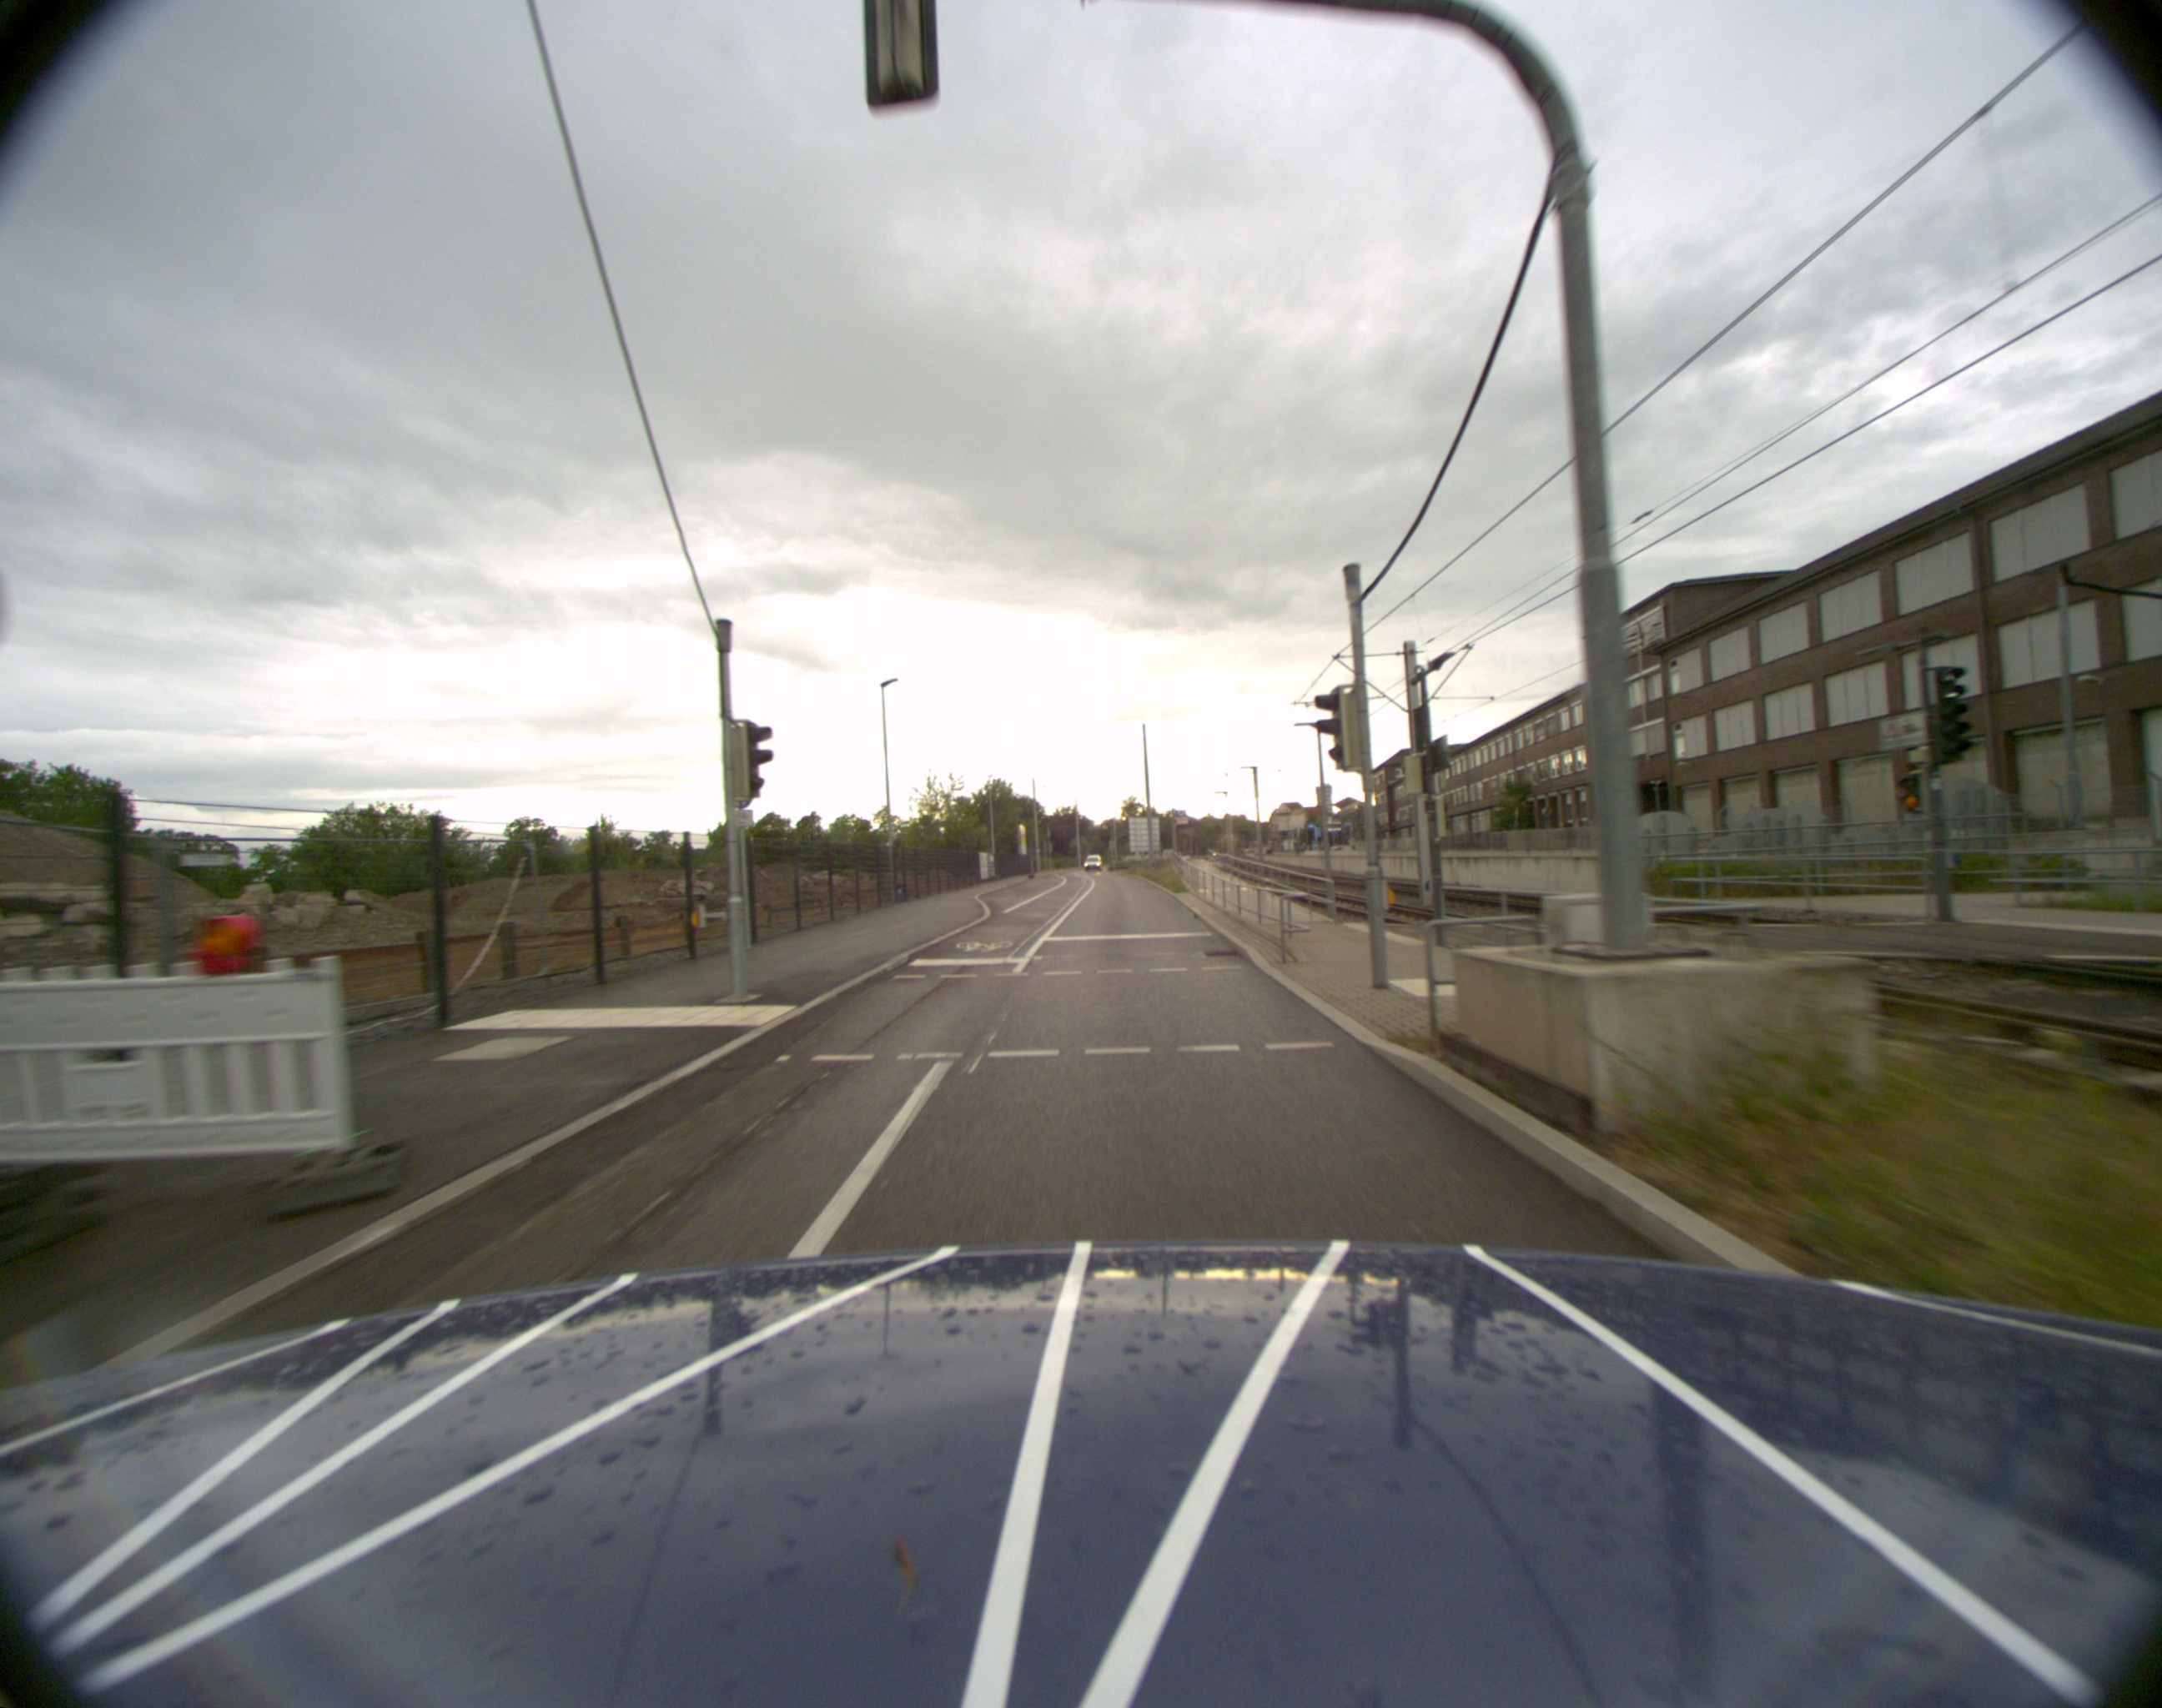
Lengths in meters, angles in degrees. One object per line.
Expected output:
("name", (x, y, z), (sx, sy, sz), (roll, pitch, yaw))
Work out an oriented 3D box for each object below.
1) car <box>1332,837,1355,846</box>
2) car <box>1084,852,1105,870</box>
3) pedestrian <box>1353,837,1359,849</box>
("car", (59.612, -2.810, 172.463), (4.573, 1.750, 2.002), (-3, 0, 11))
("car", (1.569, 0.792, 87.854), (1.997, 2.002, 4.001), (-1, 1, 7))
("pedestrian", (48.858, -1.922, 135.023), (0.581, 2.002, 0.728), (-2, 1, -26))
